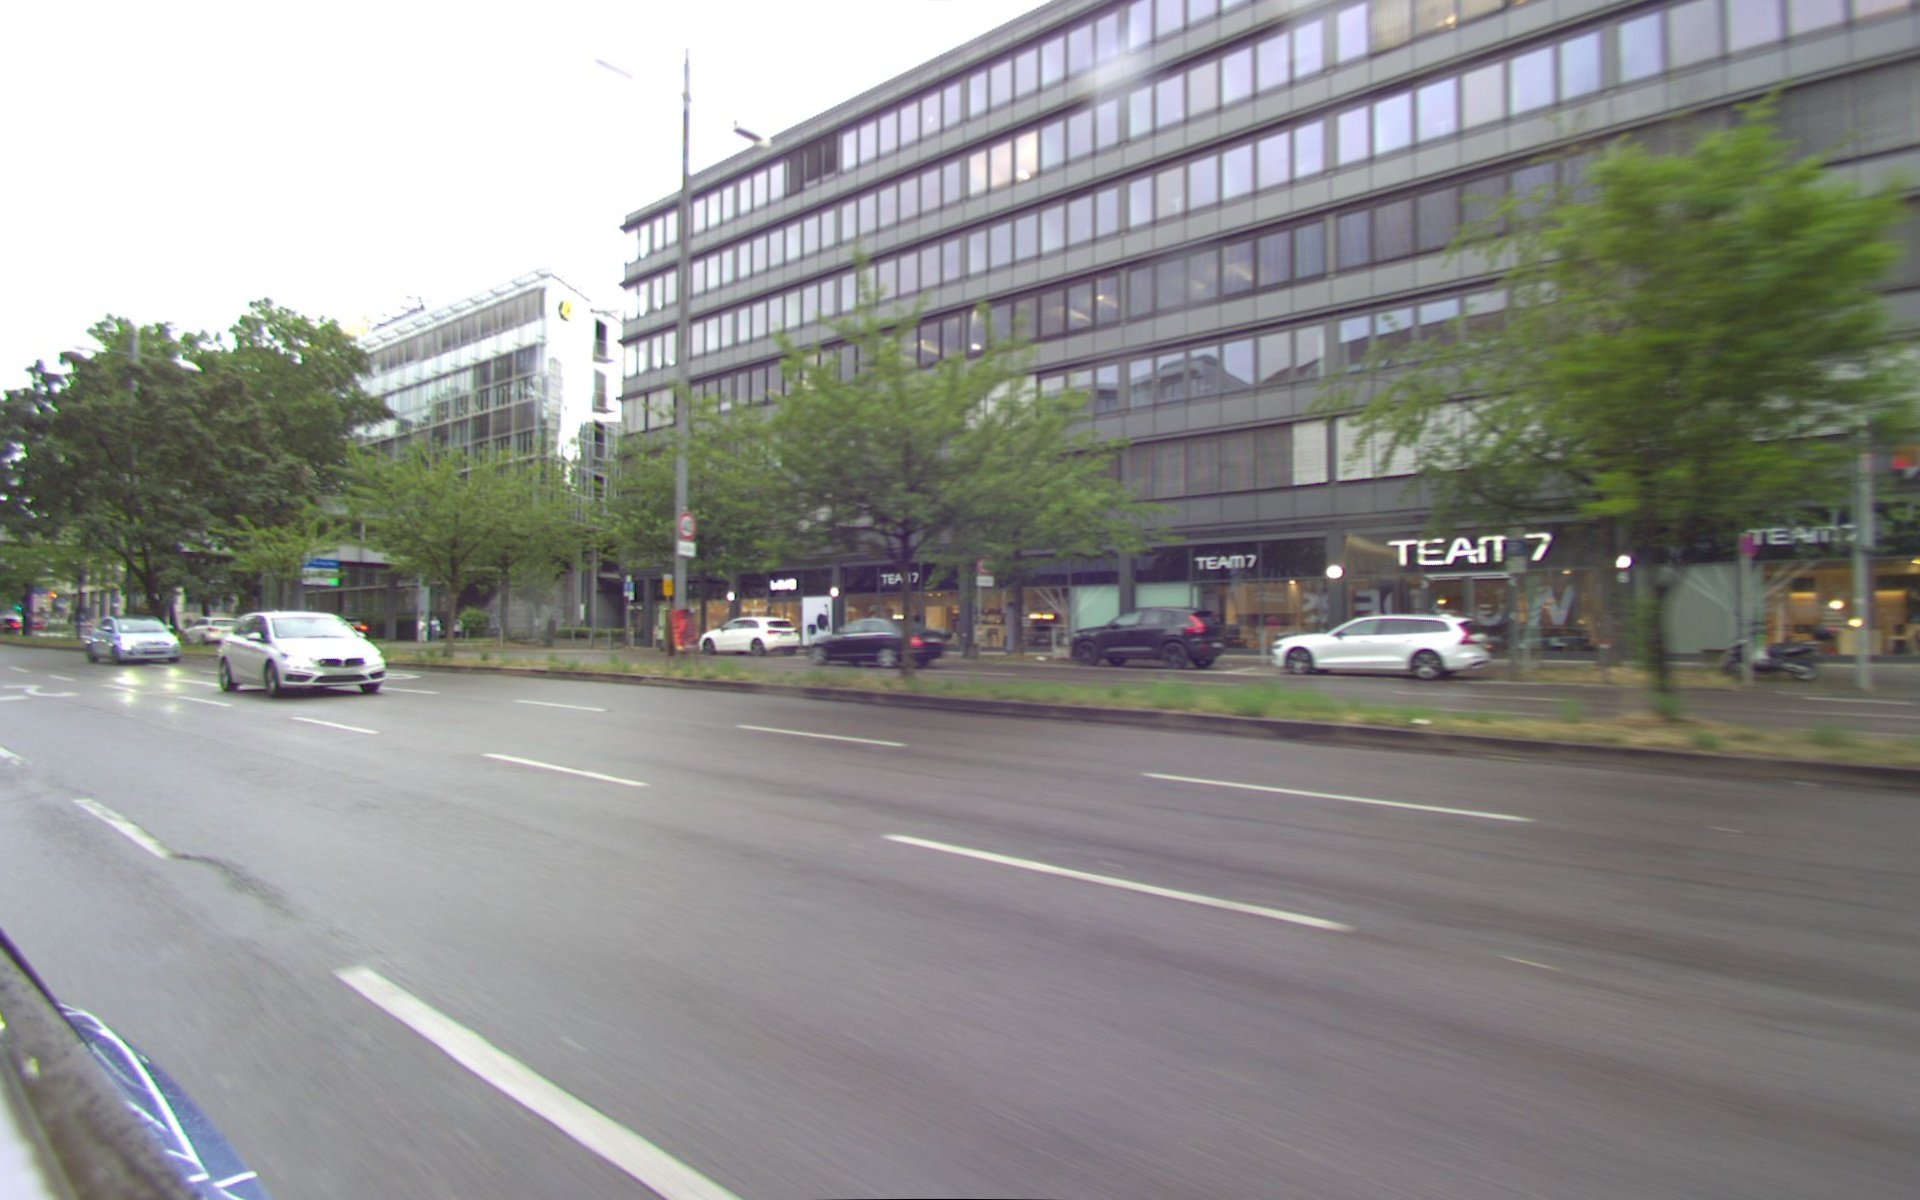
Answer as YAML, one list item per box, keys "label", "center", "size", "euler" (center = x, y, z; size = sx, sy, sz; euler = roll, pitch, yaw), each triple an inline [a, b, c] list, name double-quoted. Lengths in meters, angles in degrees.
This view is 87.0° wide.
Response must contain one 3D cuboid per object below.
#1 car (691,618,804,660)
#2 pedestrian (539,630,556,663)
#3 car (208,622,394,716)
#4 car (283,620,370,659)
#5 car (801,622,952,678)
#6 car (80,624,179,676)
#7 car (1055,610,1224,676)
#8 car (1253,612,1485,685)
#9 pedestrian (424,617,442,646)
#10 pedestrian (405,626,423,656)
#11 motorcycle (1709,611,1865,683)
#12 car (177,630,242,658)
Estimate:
- label: "car"
  center: [-8.049, 1.444, 38.193]
  size: [4.302, 1.455, 1.792]
  euler: [-1, 0, 37]
- label: "pedestrian"
  center: [-23.340, 2.627, 57.208]
  size: [0.717, 1.830, 0.766]
  euler: [2, 0, -12]
- label: "car"
  center: [-12.685, 1.228, 19.393]
  size: [4.283, 1.585, 1.766]
  euler: [-1, -2, 39]
- label: "car"
  center: [-28.914, 1.768, 46.124]
  size: [4.710, 1.528, 1.792]
  euler: [1, 0, 37]
- label: "car"
  center: [-2.473, 1.390, 29.332]
  size: [4.294, 1.487, 1.792]
  euler: [-1, -2, 37]
- label: "car"
  center: [-26.917, 1.574, 32.762]
  size: [3.687, 1.585, 1.766]
  euler: [-1, -2, 39]
- label: "car"
  center: [4.887, 1.122, 27.916]
  size: [4.308, 1.673, 1.790]
  euler: [-1, 0, 41]
- label: "car"
  center: [9.582, 1.076, 23.958]
  size: [4.768, 1.496, 1.791]
  euler: [-1, 2, 40]
- label: "pedestrian"
  center: [-33.486, 2.005, 64.252]
  size: [0.924, 1.846, 0.720]
  euler: [0, -1, 39]
- label: "pedestrian"
  center: [-34.255, 2.552, 63.515]
  size: [0.924, 1.812, 0.720]
  euler: [0, -1, 39]
- label: "motorcycle"
  center: [17.057, 0.951, 20.938]
  size: [2.346, 1.404, 0.856]
  euler: [0, 2, 13]
- label: "car"
  center: [-40.913, 2.351, 55.107]
  size: [4.306, 1.445, 1.711]
  euler: [-1, -2, 37]
